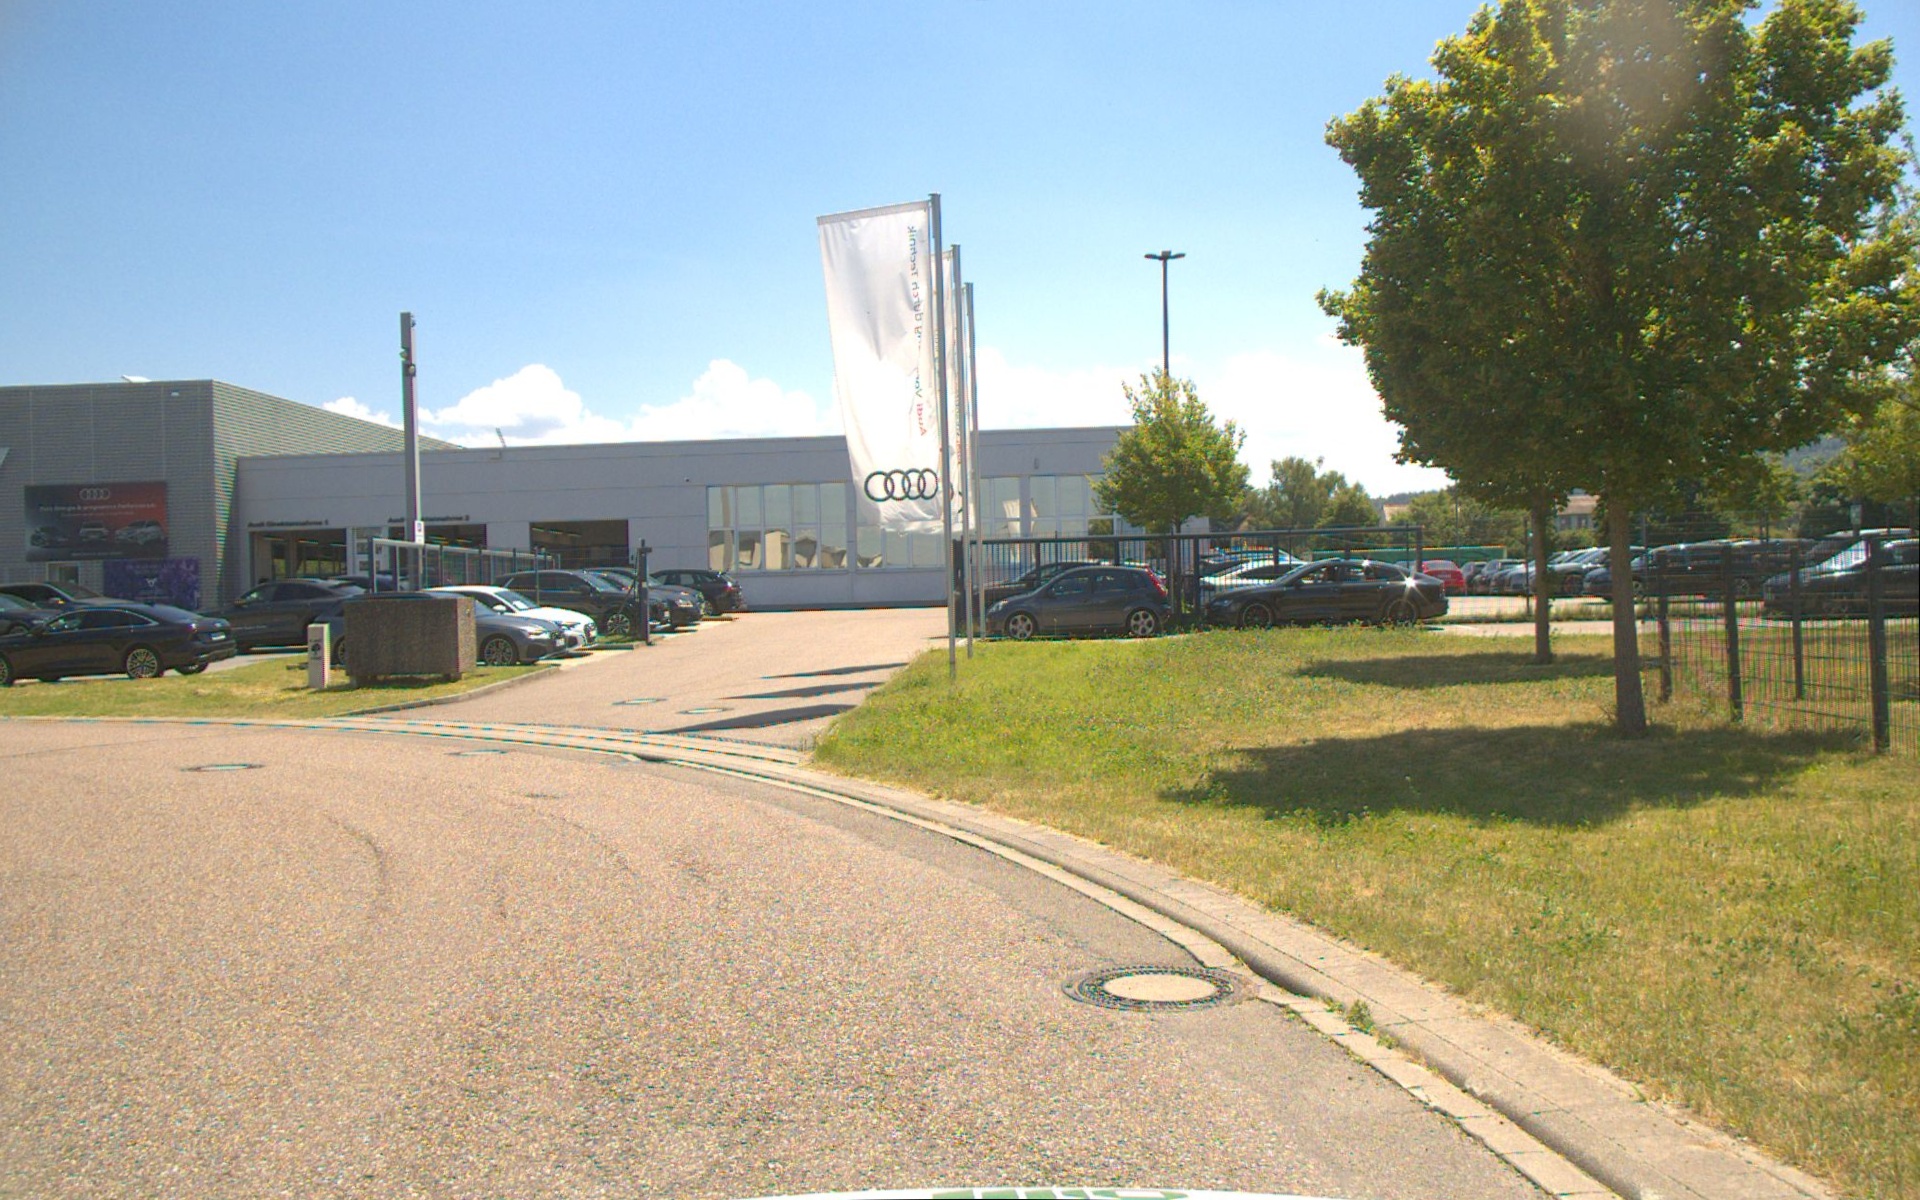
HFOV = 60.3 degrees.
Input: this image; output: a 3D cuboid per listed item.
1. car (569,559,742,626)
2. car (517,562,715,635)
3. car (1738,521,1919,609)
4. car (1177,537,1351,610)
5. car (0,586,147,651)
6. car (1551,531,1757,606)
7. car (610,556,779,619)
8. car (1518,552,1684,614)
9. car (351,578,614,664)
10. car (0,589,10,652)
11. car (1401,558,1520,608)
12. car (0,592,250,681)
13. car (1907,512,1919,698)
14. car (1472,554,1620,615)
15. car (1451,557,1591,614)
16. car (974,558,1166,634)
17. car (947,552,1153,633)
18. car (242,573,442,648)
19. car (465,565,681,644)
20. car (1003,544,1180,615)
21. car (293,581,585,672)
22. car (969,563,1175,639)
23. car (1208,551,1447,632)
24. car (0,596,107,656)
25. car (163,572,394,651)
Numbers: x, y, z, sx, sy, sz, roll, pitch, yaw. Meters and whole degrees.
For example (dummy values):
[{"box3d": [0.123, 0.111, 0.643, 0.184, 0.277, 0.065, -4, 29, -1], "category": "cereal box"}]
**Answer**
[{"box3d": [-8.291, -0.220, 45.351, 4.273, 1.658, 1.969, -2, 1, 2], "category": "car"}, {"box3d": [-8.660, -0.050, 41.929, 4.515, 1.658, 1.969, -2, 1, 2], "category": "car"}, {"box3d": [18.003, -0.729, 32.798, 4.299, 1.594, 1.782, -2, 1, 5], "category": "car"}, {"box3d": [7.723, -0.659, 42.342, 4.112, 1.658, 1.796, -2, 0, 2], "category": "car"}, {"box3d": [-27.019, 0.555, 49.198, 4.615, 1.769, 1.969, -2, 1, 2], "category": "car"}, {"box3d": [17.637, -0.791, 42.149, 4.373, 1.717, 1.999, -2, 0, -2], "category": "car"}, {"box3d": [-7.712, -0.385, 48.331, 4.515, 1.658, 1.969, -2, 1, 2], "category": "car"}, {"box3d": [18.177, -0.472, 47.059, 3.904, 1.583, 2.113, -2, 0, 2], "category": "car"}, {"box3d": [-9.786, 0.417, 34.121, 4.826, 1.555, 1.826, -2, 1, 2], "category": "car"}, {"box3d": [-27.194, 0.624, 42.661, 4.185, 1.641, 1.969, -2, 1, 2], "category": "car"}, {"box3d": [19.152, -0.639, 63.409, 3.906, 1.717, 1.999, -2, 0, -2], "category": "car"}, {"box3d": [-16.430, 0.696, 31.557, 4.903, 1.480, 1.886, -2, 2, 2], "category": "car"}, {"box3d": [9.174, -0.033, 12.459, 1.737, 1.629, 4.284, -2, -1, 3], "category": "car"}, {"box3d": [18.296, -0.481, 51.753, 3.905, 1.717, 2.000, -2, 0, 0], "category": "car"}, {"box3d": [18.555, -0.485, 54.818, 3.906, 1.717, 1.999, -2, 0, -2], "category": "car"}, {"box3d": [2.662, -0.115, 40.276, 4.515, 1.658, 1.969, -2, 1, 2], "category": "car"}, {"box3d": [2.037, -0.199, 37.684, 4.515, 1.658, 1.969, -2, 1, 2], "category": "car"}, {"box3d": [-15.566, 0.266, 41.811, 4.311, 1.724, 1.831, -2, 0, 2], "category": "car"}, {"box3d": [-9.063, 0.086, 38.988, 4.515, 1.658, 1.969, -2, 1, 2], "category": "car"}, {"box3d": [3.455, -0.540, 43.869, 4.515, 1.658, 1.968, -2, 0, 2], "category": "car"}, {"box3d": [-9.789, 0.486, 31.312, 4.826, 1.493, 1.969, -2, 1, 2], "category": "car"}, {"box3d": [2.310, 0.010, 33.893, 4.045, 1.373, 1.782, -2, 1, 5], "category": "car"}, {"box3d": [7.300, -0.176, 33.225, 4.462, 1.426, 1.782, -2, 1, 6], "category": "car"}, {"box3d": [-26.037, 0.731, 45.307, 4.267, 1.502, 1.969, -2, 1, 2], "category": "car"}, {"box3d": [-16.097, 0.264, 39.197, 4.671, 1.672, 1.831, -2, 0, 2], "category": "car"}]
